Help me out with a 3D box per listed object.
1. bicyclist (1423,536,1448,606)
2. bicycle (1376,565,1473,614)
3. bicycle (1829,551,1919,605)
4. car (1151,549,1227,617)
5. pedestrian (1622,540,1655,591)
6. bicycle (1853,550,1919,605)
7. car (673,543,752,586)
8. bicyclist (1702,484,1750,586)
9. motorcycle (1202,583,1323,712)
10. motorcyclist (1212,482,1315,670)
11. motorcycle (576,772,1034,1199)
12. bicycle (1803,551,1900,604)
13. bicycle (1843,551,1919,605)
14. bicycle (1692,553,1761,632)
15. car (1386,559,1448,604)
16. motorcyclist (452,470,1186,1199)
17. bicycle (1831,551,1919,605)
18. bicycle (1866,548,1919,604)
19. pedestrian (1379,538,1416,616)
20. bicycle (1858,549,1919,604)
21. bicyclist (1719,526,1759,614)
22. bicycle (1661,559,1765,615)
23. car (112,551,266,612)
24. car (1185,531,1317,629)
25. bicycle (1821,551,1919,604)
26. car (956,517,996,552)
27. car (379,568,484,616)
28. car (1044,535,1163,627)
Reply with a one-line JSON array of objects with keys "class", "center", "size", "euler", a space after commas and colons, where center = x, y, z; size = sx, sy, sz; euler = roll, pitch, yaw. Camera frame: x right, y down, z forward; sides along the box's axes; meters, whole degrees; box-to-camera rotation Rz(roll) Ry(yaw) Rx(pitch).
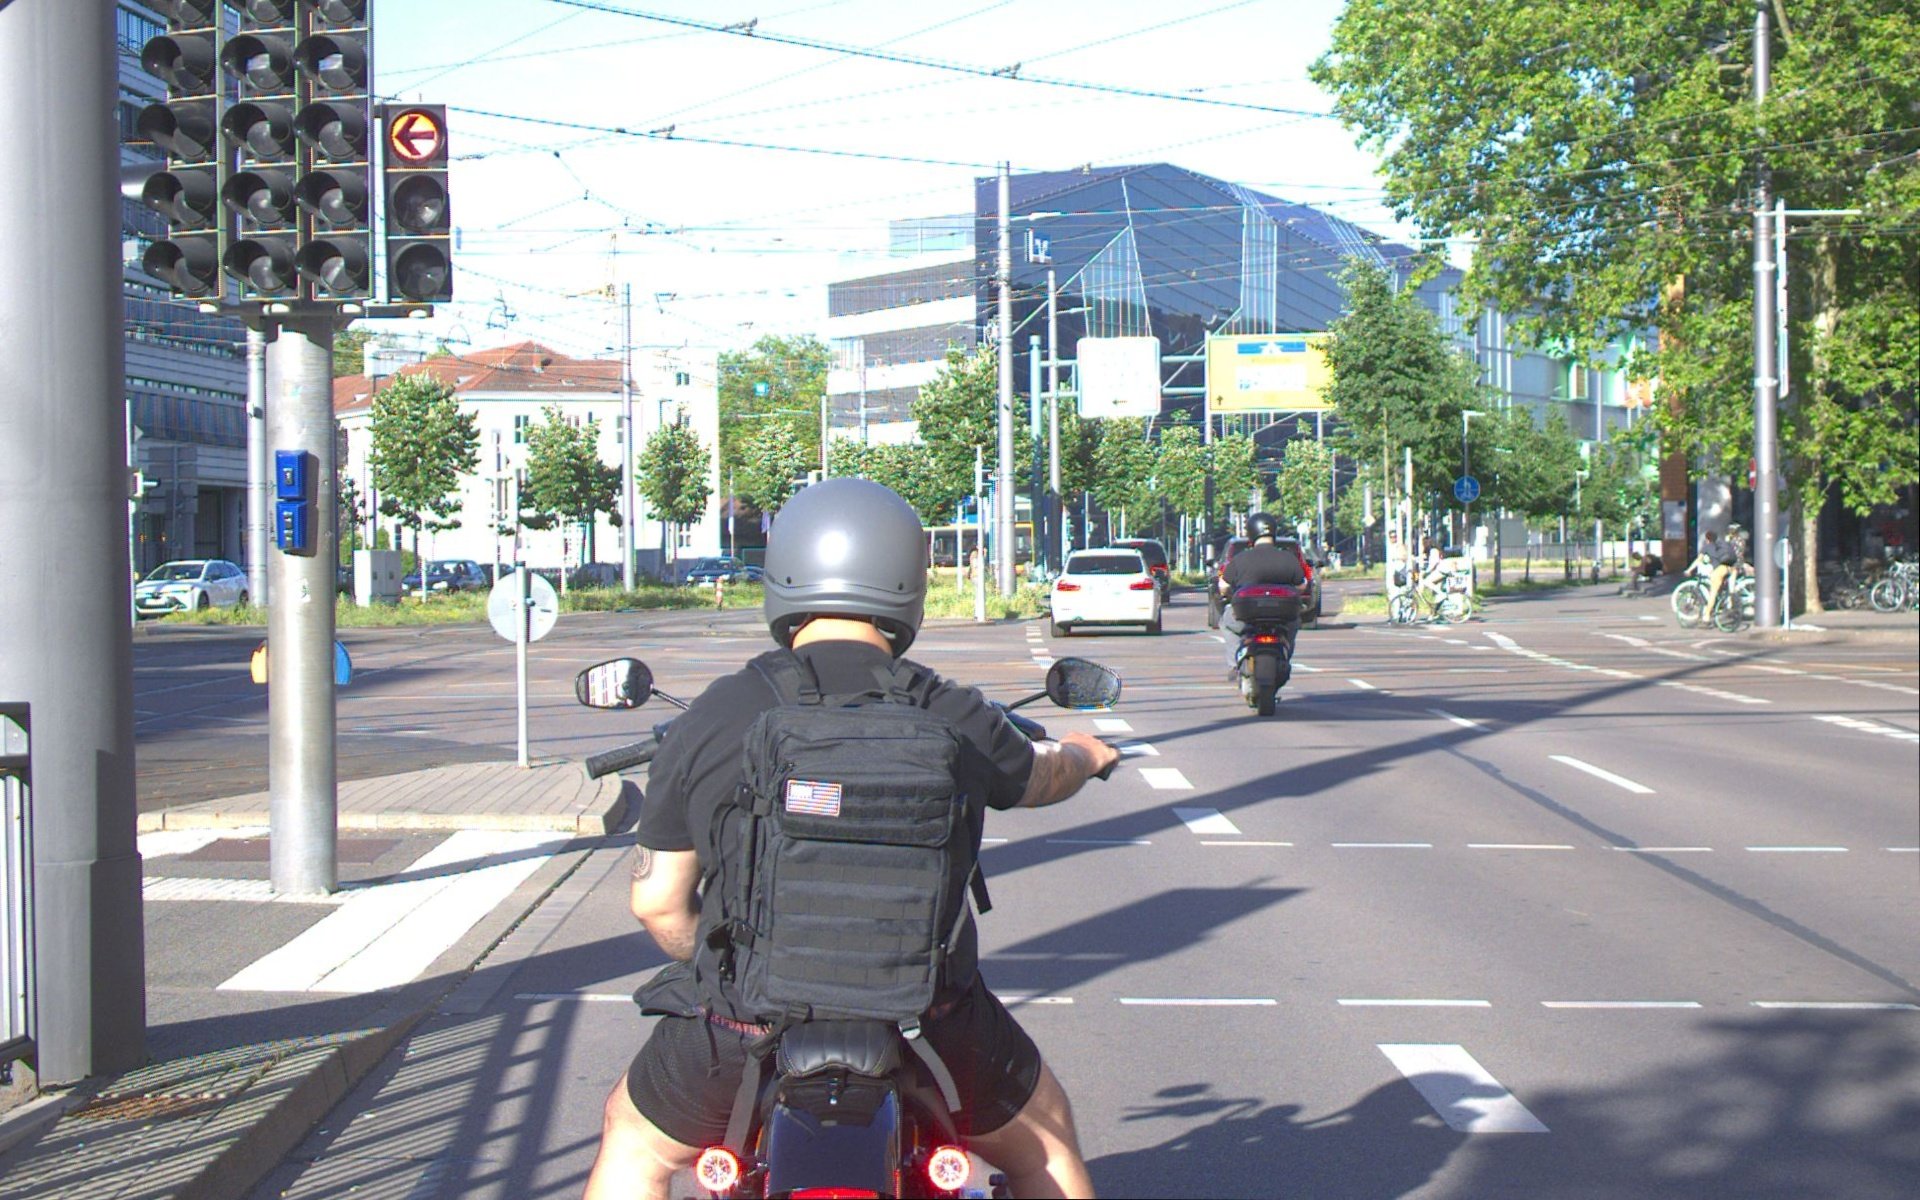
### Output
[{"class": "bicyclist", "center": [9.272, -0.564, 67.094], "size": [0.380, 1.368, 0.345], "euler": [1, 0, -9]}, {"class": "bicycle", "center": [9.064, -0.208, 67.068], "size": [1.825, 0.922, 0.358], "euler": [1, 0, -8]}, {"class": "bicycle", "center": [18.441, -0.443, 68.997], "size": [1.880, 1.043, 0.360], "euler": [1, 1, -1]}, {"class": "car", "center": [5.820, -0.433, 87.778], "size": [1.803, 1.672, 4.040], "euler": [1, 0, 2]}, {"class": "pedestrian", "center": [17.897, -0.909, 90.670], "size": [0.819, 1.309, 0.637], "euler": [1, 0, 9]}, {"class": "bicycle", "center": [18.474, -0.433, 67.323], "size": [1.880, 1.043, 0.360], "euler": [1, 0, -1]}, {"class": "car", "center": [-9.066, -1.304, 126.225], "size": [1.750, 1.519, 3.997], "euler": [1, 0, 13]}, {"class": "bicyclist", "center": [13.694, -1.154, 61.477], "size": [0.697, 1.802, 0.728], "euler": [1, 0, 4]}, {"class": "motorcycle", "center": [2.577, 0.387, 29.554], "size": [0.804, 1.047, 2.376], "euler": [1, 0, 0]}, {"class": "motorcyclist", "center": [2.581, -0.203, 29.248], "size": [0.796, 1.574, 0.529], "euler": [1, 0, -1]}, {"class": "motorcycle", "center": [-0.223, 0.882, 5.662], "size": [0.600, 1.032, 2.234], "euler": [1, 1, -1]}, {"class": "bicycle", "center": [18.312, -0.469, 70.647], "size": [1.880, 1.043, 0.360], "euler": [1, 1, -1]}, {"class": "bicycle", "center": [18.428, -0.425, 67.879], "size": [1.880, 1.043, 0.360], "euler": [1, 1, -1]}, {"class": "bicycle", "center": [13.672, -0.133, 61.358], "size": [0.726, 1.362, 2.917], "euler": [1, 0, 3]}, {"class": "car", "center": [17.530, -0.702, 131.819], "size": [1.804, 1.672, 4.038], "euler": [1, 0, 16]}, {"class": "motorcyclist", "center": [-0.202, 0.605, 5.297], "size": [1.030, 1.588, 0.873], "euler": [0, 1, -1]}, {"class": "bicycle", "center": [18.348, -0.430, 68.510], "size": [1.880, 1.043, 0.360], "euler": [1, 0, -1]}, {"class": "bicycle", "center": [18.317, -0.452, 65.723], "size": [1.880, 1.043, 0.360], "euler": [1, 0, -1]}, {"class": "pedestrian", "center": [8.728, -0.458, 68.591], "size": [0.587, 1.551, 0.489], "euler": [1, 0, -8]}, {"class": "bicycle", "center": [18.357, -0.444, 66.507], "size": [1.880, 1.043, 0.360], "euler": [1, 0, -1]}, {"class": "bicyclist", "center": [14.766, -0.561, 65.177], "size": [0.688, 1.667, 0.540], "euler": [0, 0, 19]}, {"class": "bicycle", "center": [14.311, -0.246, 65.327], "size": [1.872, 1.040, 0.536], "euler": [0, 0, 19]}, {"class": "car", "center": [-19.064, -0.474, 85.246], "size": [1.826, 1.425, 4.527], "euler": [0, 1, 15]}, {"class": "car", "center": [5.503, -0.414, 65.502], "size": [1.731, 1.726, 4.613], "euler": [1, 2, -5]}, {"class": "bicycle", "center": [18.400, -0.453, 69.497], "size": [1.880, 1.043, 0.360], "euler": [1, 1, -1]}, {"class": "car", "center": [0.967, -3.910, 204.950], "size": [1.994, 2.007, 4.299], "euler": [1, 0, 5]}, {"class": "car", "center": [-16.108, -0.247, 104.953], "size": [1.826, 1.426, 4.239], "euler": [1, 0, 11]}, {"class": "car", "center": [2.367, -0.309, 57.493], "size": [1.731, 1.452, 4.418], "euler": [1, 0, -1]}]
